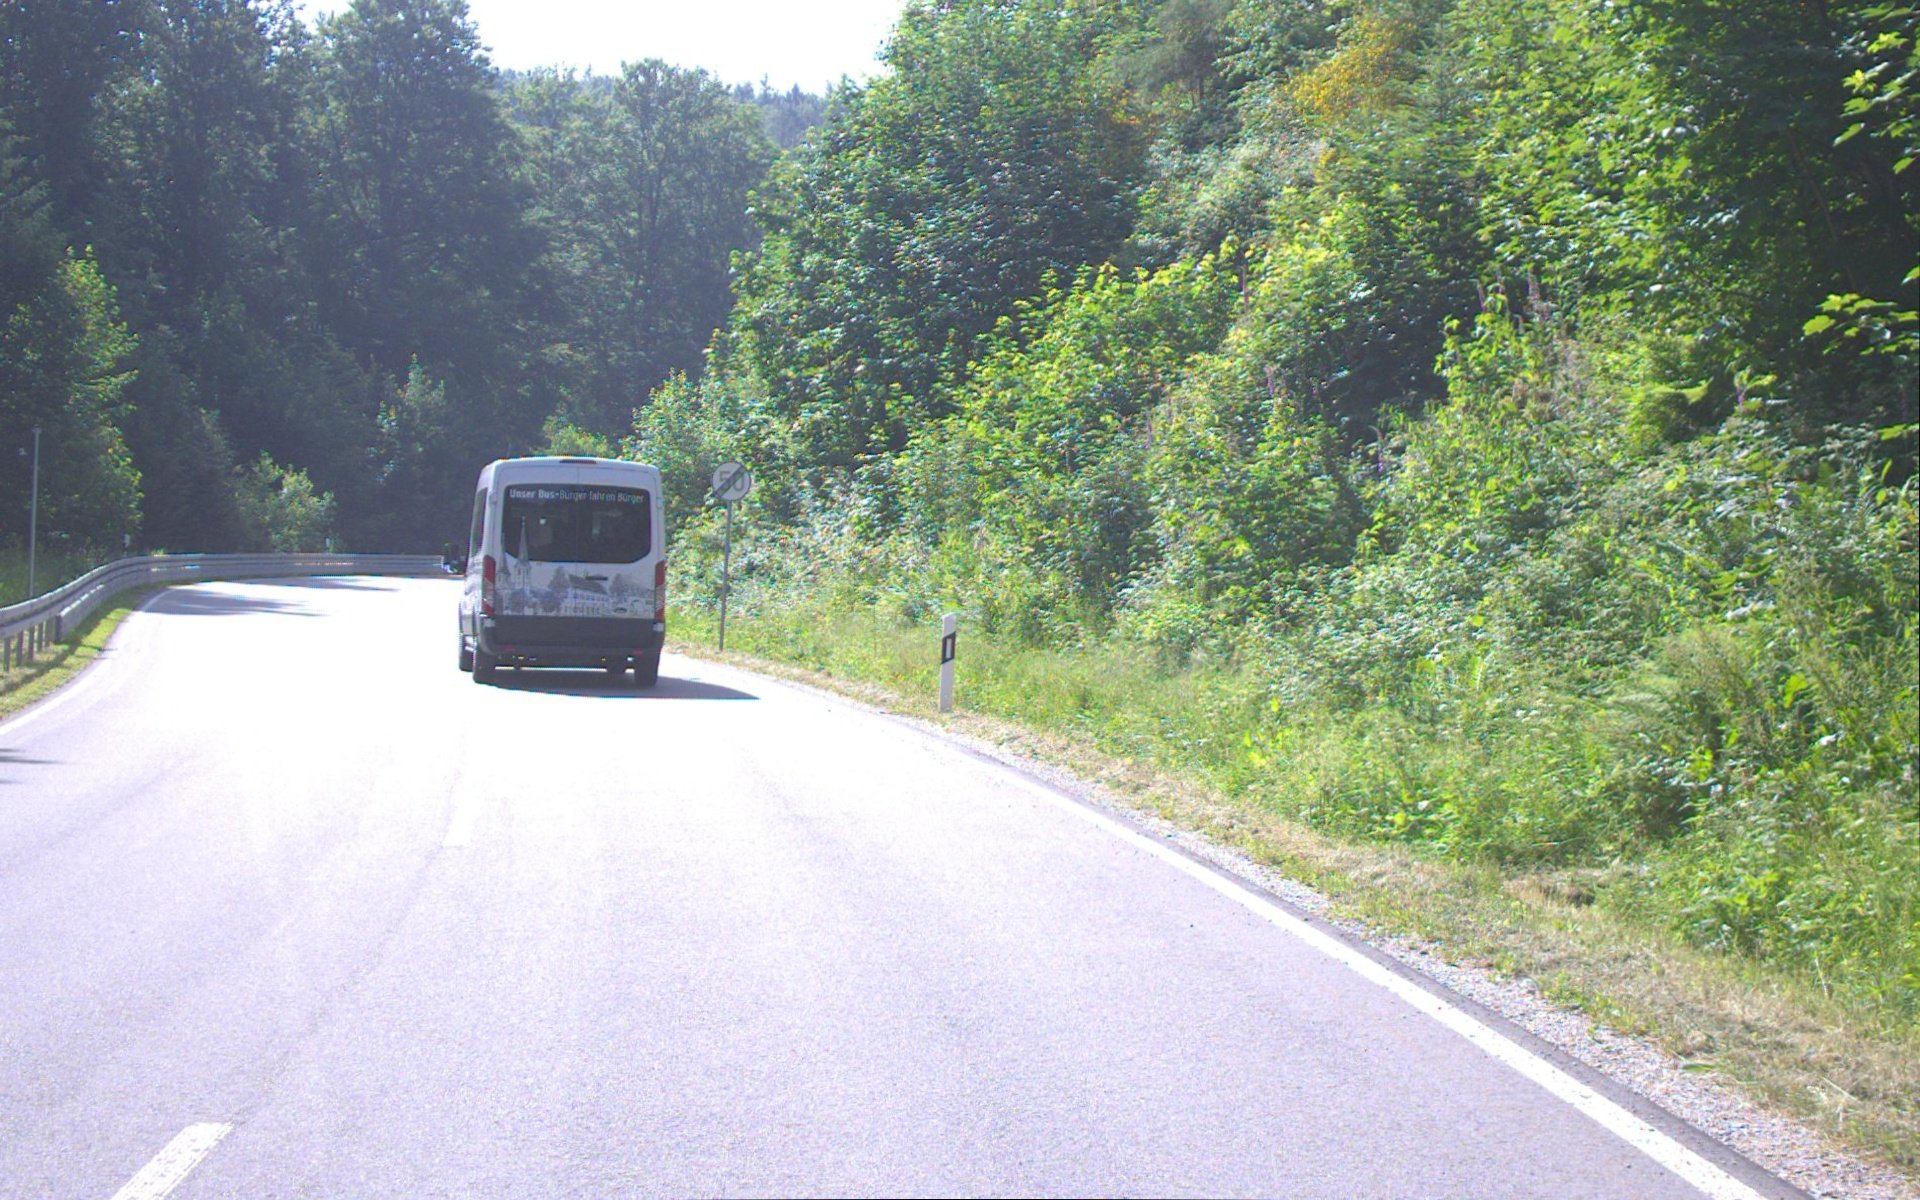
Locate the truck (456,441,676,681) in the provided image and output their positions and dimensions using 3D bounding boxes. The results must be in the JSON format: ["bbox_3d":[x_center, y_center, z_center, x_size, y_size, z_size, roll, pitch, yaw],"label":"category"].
[{"bbox_3d":[-4.540,-0.452,38.924,2.115,2.490,5.361,1,1,-10],"label":"truck"}]
